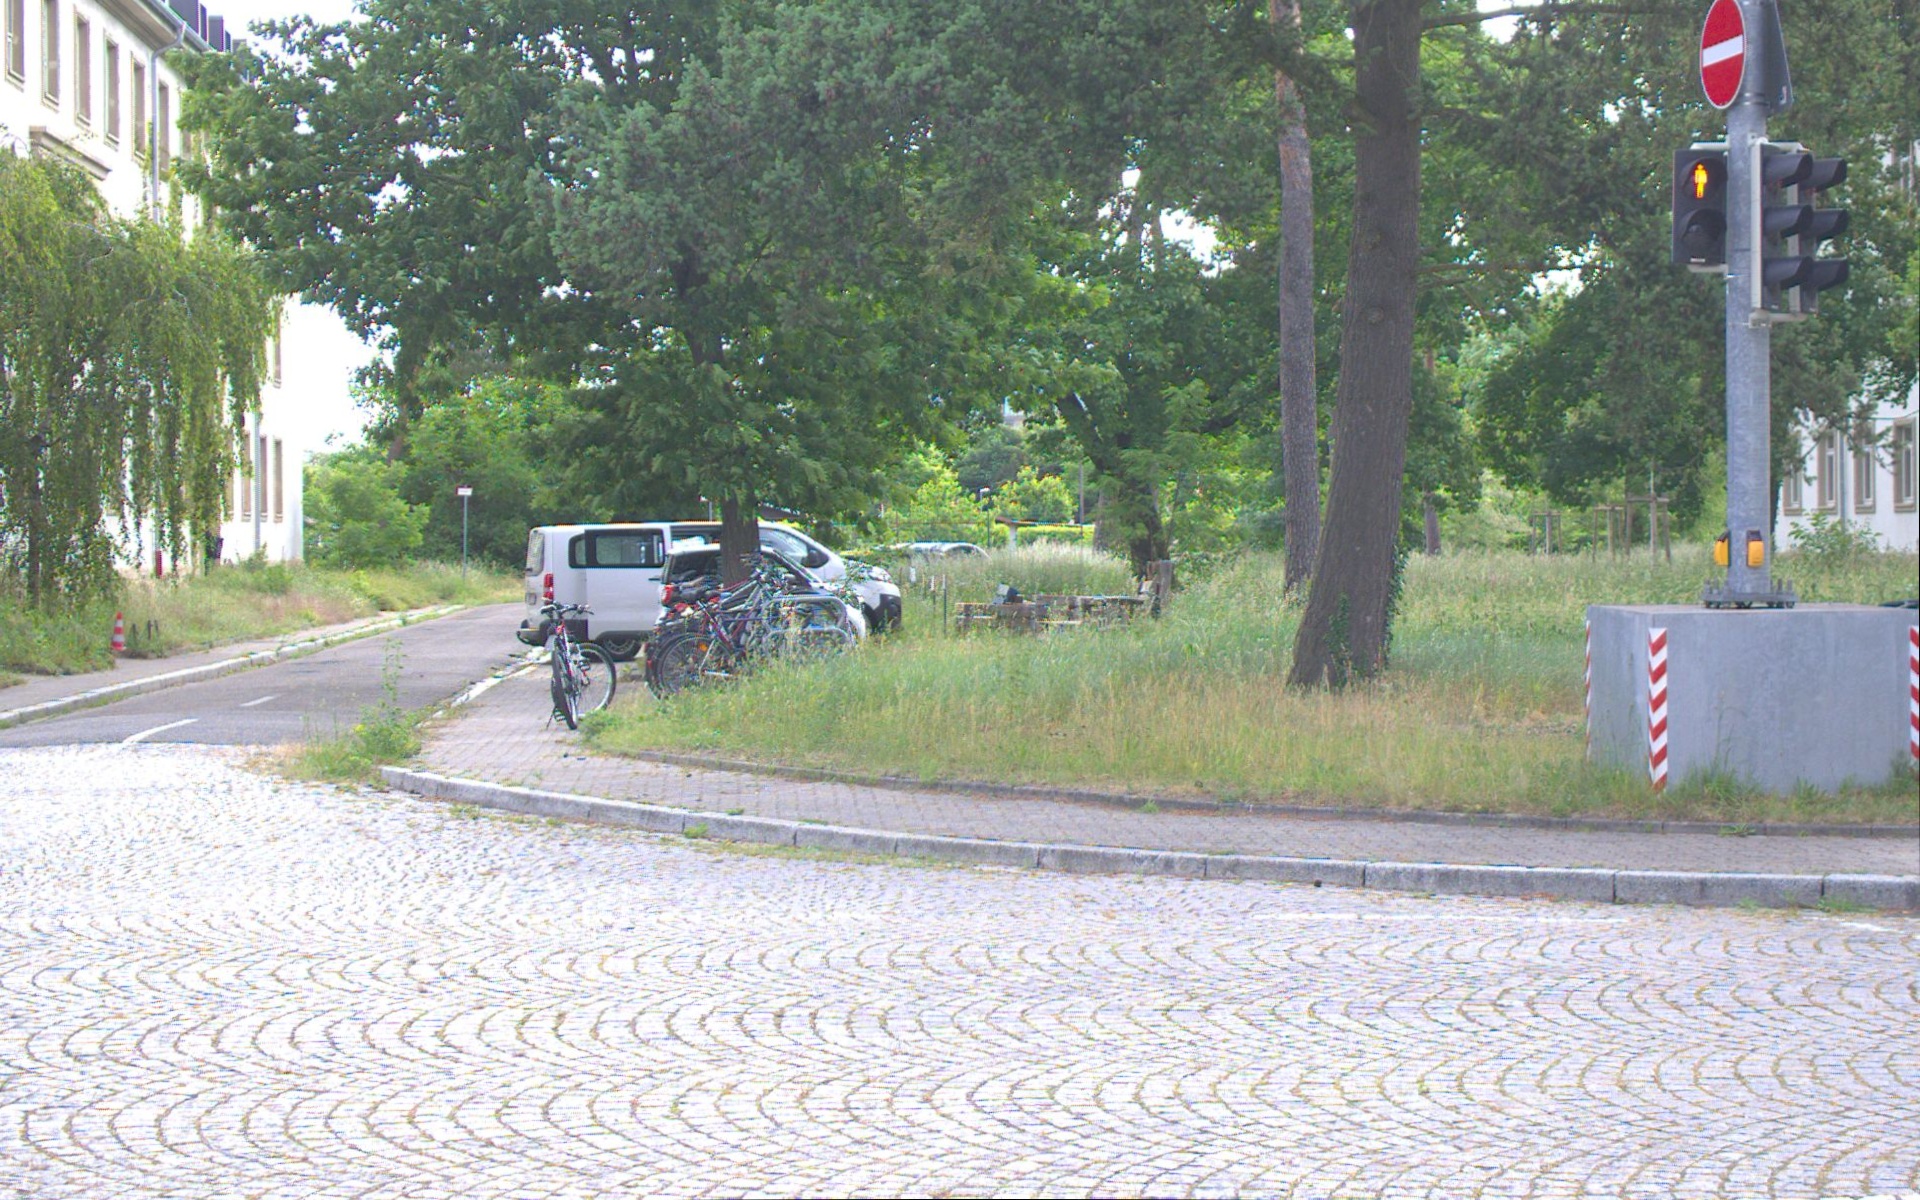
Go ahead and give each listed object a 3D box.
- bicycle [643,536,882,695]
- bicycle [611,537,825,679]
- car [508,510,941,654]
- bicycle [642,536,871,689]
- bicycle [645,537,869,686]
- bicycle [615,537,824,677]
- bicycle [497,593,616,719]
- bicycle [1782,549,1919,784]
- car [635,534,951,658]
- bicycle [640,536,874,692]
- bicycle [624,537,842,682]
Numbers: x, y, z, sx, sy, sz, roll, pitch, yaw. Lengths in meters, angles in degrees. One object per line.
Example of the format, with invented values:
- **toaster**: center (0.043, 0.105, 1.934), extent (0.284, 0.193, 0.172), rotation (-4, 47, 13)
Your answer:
- **bicycle**: center (-1.731, 0.128, 30.220), extent (2.069, 1.373, 0.620), rotation (0, 1, -3)
- **bicycle**: center (-2.375, 0.073, 33.821), extent (2.069, 1.373, 0.620), rotation (0, 1, -3)
- **car**: center (-3.313, -0.280, 48.052), extent (5.690, 1.904, 2.231), rotation (-1, 1, -15)
- **bicycle**: center (-1.859, 0.111, 31.511), extent (2.069, 1.373, 0.620), rotation (0, 1, -3)
- **bicycle**: center (-1.901, 0.101, 32.307), extent (2.069, 1.373, 0.620), rotation (0, 1, -3)
- **bicycle**: center (-2.408, 0.064, 34.568), extent (2.069, 1.373, 0.620), rotation (0, 1, -3)
- **bicycle**: center (-3.312, 0.445, 28.345), extent (0.618, 0.960, 2.076), rotation (0, 1, 3)
- **bicycle**: center (5.113, 0.321, 18.283), extent (0.908, 1.173, 1.875), rotation (0, 1, -4)
- **car**: center (-2.209, -0.076, 44.737), extent (3.931, 1.539, 2.001), rotation (0, 1, -8)
- **bicycle**: center (-1.817, 0.118, 30.887), extent (2.069, 1.373, 0.620), rotation (0, 1, -3)
- **bicycle**: center (-2.177, 0.084, 33.092), extent (2.069, 1.373, 0.620), rotation (0, 1, -3)
